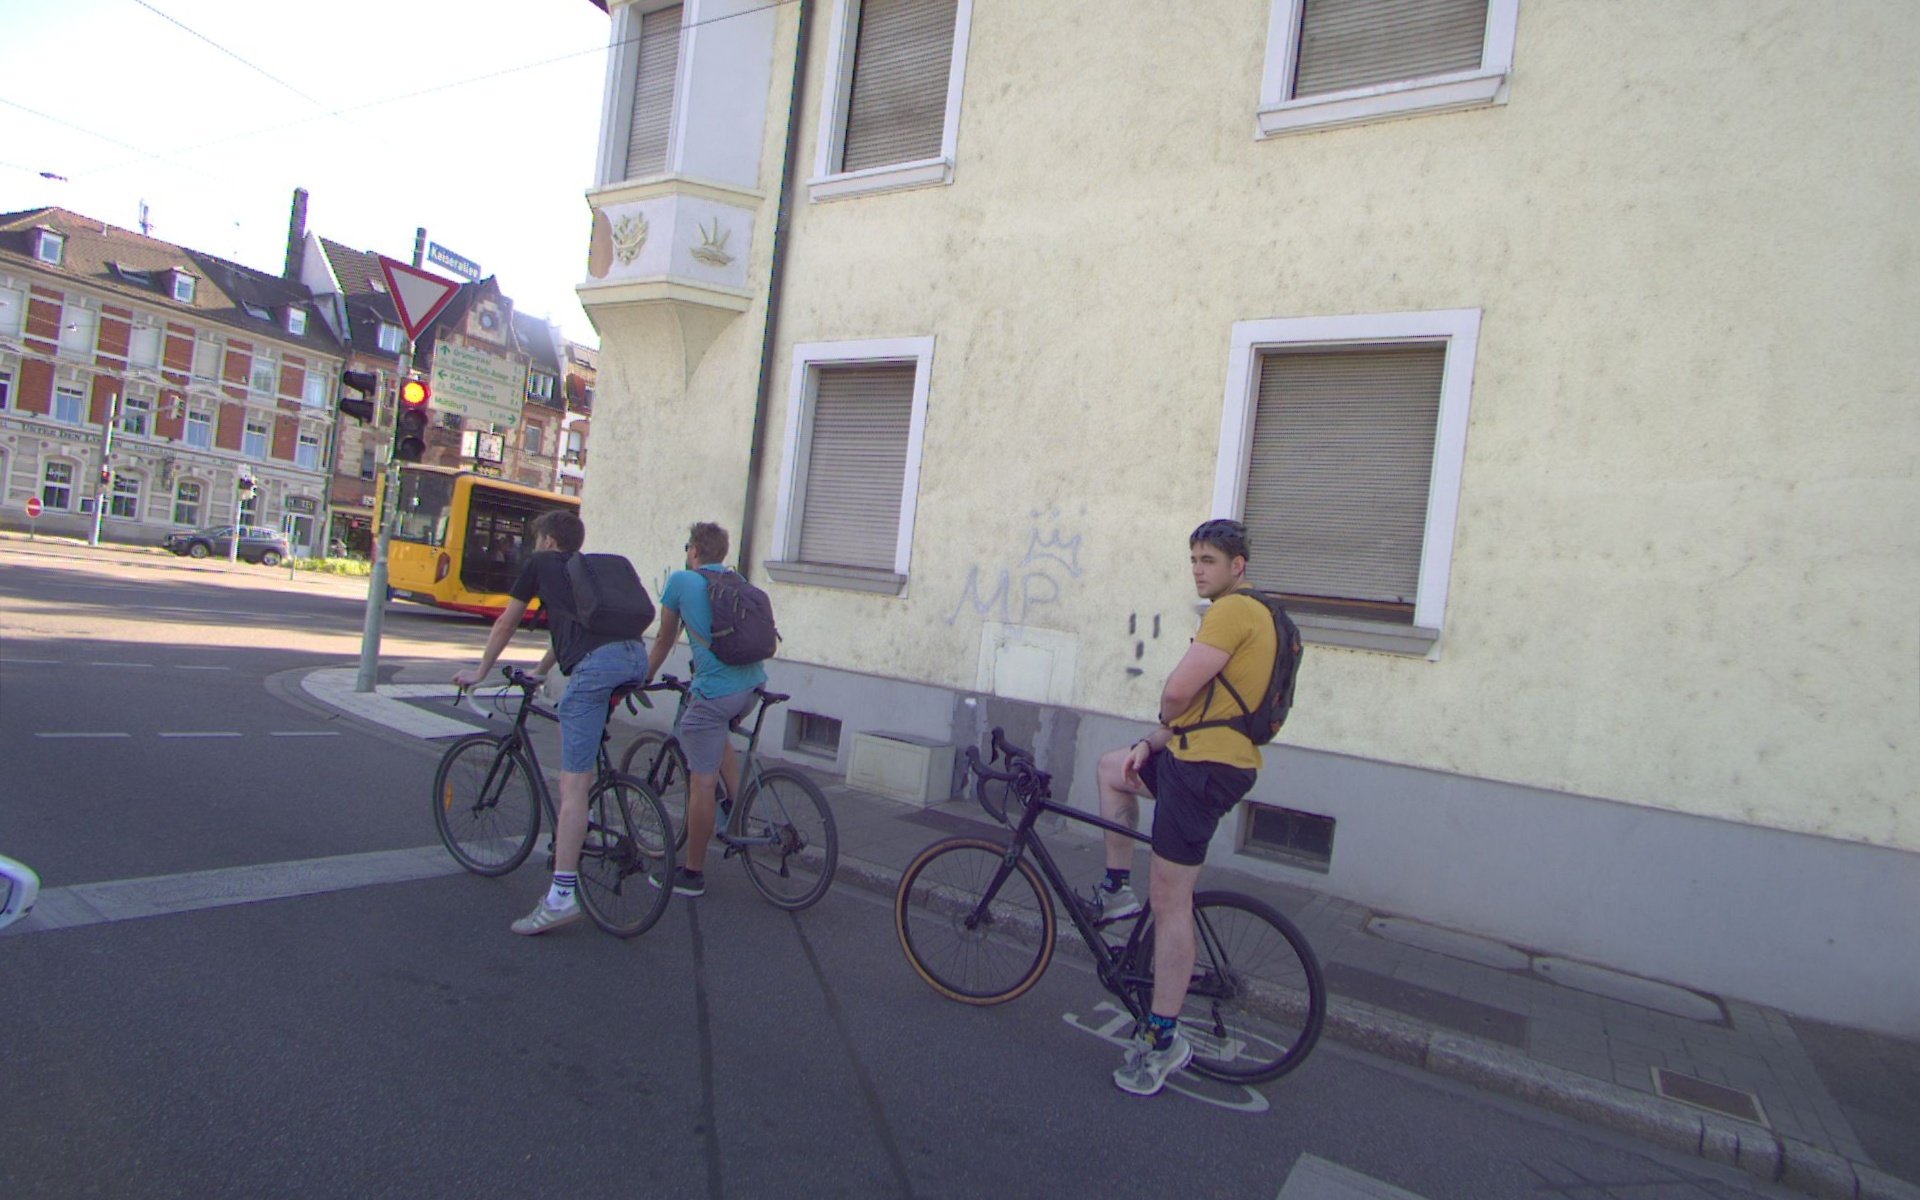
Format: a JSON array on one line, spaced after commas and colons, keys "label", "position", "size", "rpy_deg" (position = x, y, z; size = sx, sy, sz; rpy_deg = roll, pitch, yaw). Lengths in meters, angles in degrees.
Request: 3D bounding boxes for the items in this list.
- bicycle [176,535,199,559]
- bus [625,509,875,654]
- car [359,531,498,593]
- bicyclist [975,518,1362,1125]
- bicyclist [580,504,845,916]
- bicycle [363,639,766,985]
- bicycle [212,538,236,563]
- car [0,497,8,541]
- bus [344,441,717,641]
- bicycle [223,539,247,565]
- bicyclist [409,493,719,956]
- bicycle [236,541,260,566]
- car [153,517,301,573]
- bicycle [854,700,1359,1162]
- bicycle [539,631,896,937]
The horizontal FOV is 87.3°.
[{"label": "bicycle", "position": [-35.079, -2.418, 45.672], "size": [1.759, 0.925, 0.485], "rpy_deg": [7, 0, 42]}, {"label": "bus", "position": [-6.490, -0.341, 33.267], "size": [2.729, 3.497, 9.445], "rpy_deg": [8, -2, 24]}, {"label": "car", "position": [-23.282, -1.616, 44.270], "size": [1.967, 2.037, 4.988], "rpy_deg": [7, -1, 31]}, {"label": "bicyclist", "position": [0.761, 0.694, 3.666], "size": [1.019, 1.839, 0.652], "rpy_deg": [7, 0, 32]}, {"label": "bicyclist", "position": [-1.297, 0.521, 5.280], "size": [0.978, 1.910, 0.652], "rpy_deg": [7, 0, 32]}, {"label": "bicycle", "position": [-1.810, 0.832, 4.477], "size": [1.858, 1.071, 0.571], "rpy_deg": [7, 0, 32]}, {"label": "bicycle", "position": [-34.203, -2.296, 46.754], "size": [1.759, 1.033, 0.485], "rpy_deg": [7, 0, 42]}, {"label": "car", "position": [-33.906, -2.972, 32.594], "size": [1.854, 1.440, 4.034], "rpy_deg": [7, -1, 31]}, {"label": "bus", "position": [-10.042, -1.131, 25.014], "size": [2.737, 3.497, 8.645], "rpy_deg": [8, -2, 24]}, {"label": "bicycle", "position": [-34.016, -2.255, 47.178], "size": [1.759, 1.033, 0.485], "rpy_deg": [7, 0, 42]}, {"label": "bicyclist", "position": [-1.761, 0.489, 4.479], "size": [0.978, 1.788, 0.652], "rpy_deg": [7, 0, 32]}, {"label": "bicycle", "position": [-33.688, -2.196, 47.570], "size": [1.759, 1.033, 0.485], "rpy_deg": [7, 0, 42]}, {"label": "car", "position": [-31.100, -2.295, 42.843], "size": [1.966, 1.635, 4.589], "rpy_deg": [7, -1, 30]}, {"label": "bicycle", "position": [0.502, 1.087, 3.782], "size": [1.670, 1.180, 0.571], "rpy_deg": [7, 0, 32]}, {"label": "bicycle", "position": [-1.320, 0.874, 5.290], "size": [1.858, 1.180, 0.571], "rpy_deg": [7, 0, 32]}]
